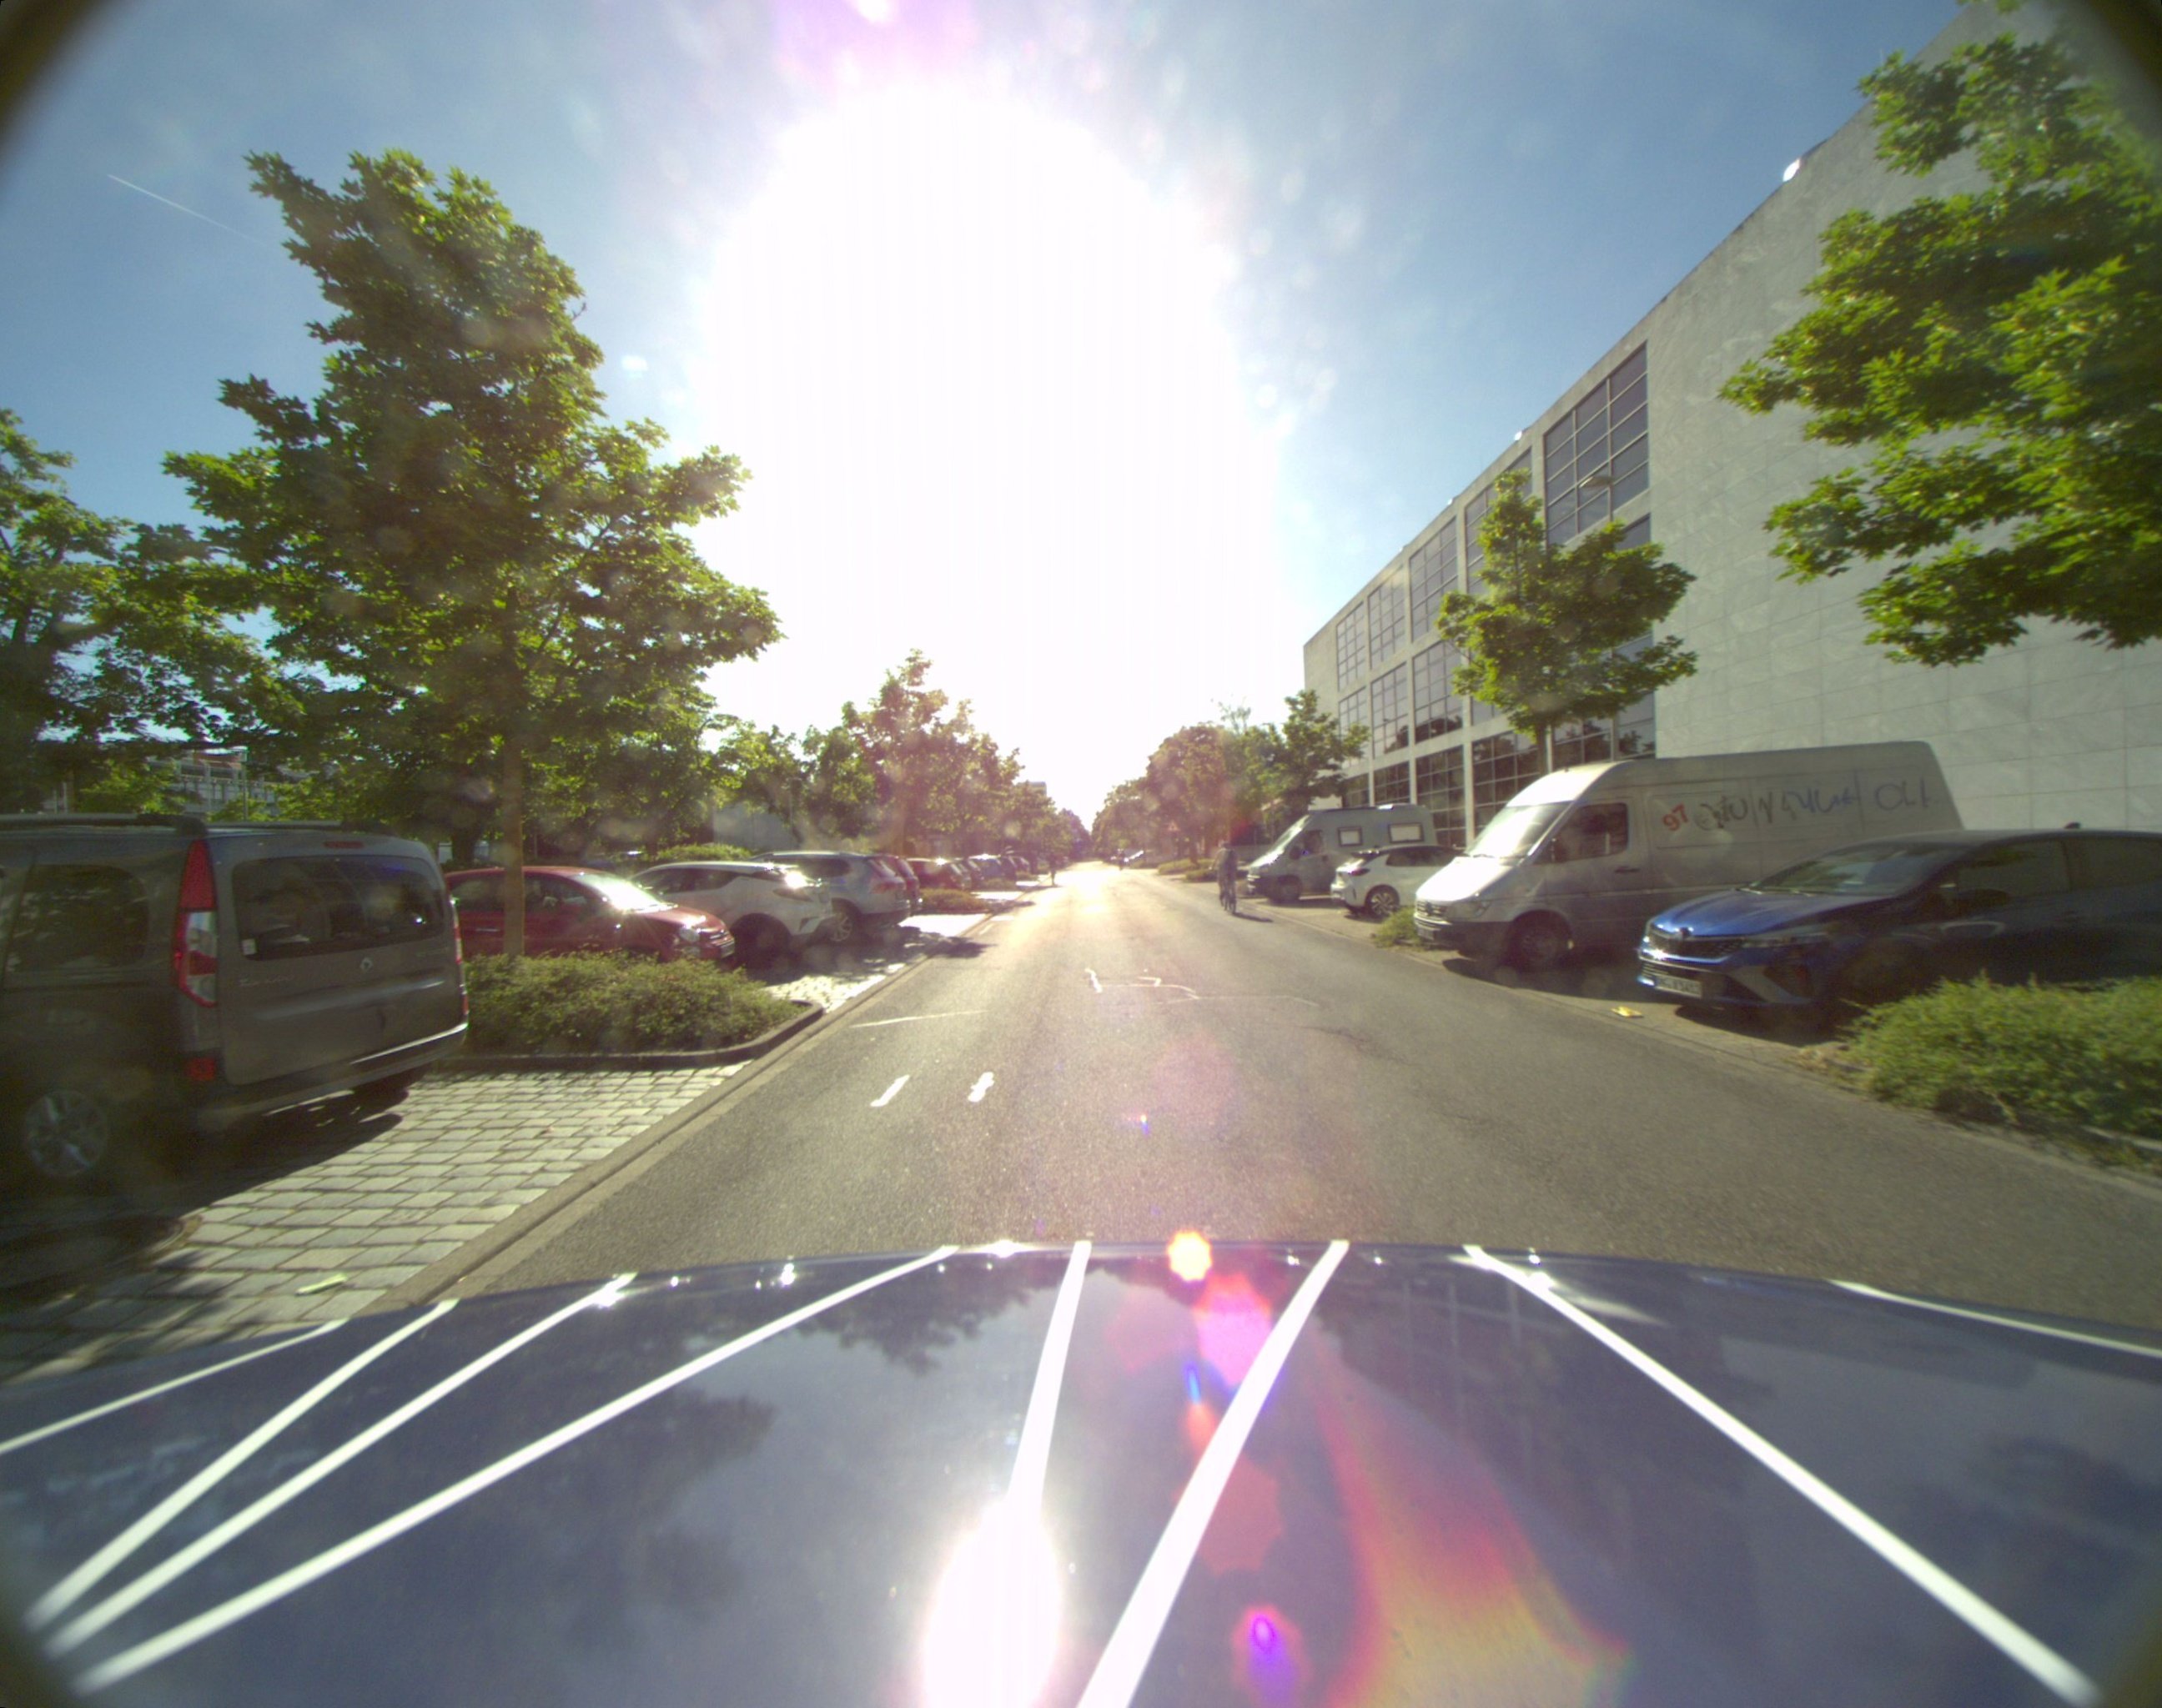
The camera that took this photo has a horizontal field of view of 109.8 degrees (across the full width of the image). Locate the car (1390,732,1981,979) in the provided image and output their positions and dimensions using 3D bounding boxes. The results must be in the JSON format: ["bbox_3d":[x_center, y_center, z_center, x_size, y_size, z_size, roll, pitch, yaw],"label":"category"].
[{"bbox_3d":[7.076,0.030,9.430,5.564,2.396,1.988,-4,1,2],"label":"car"}]

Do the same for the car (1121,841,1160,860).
[{"bbox_3d":[8.117,-0.506,104.499,5.132,2.364,2.000,-2,0,0],"label":"car"}]

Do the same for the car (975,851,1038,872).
[{"bbox_3d":[-5.093,0.521,52.330,4.165,1.398,1.828,-1,1,-1],"label":"car"}]

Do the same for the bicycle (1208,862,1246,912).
[{"bbox_3d":[3.507,0.772,18.430,0.699,1.104,2.080,-1,1,5],"label":"bicycle"}]

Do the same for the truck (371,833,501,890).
[{"bbox_3d":[-46.088,0.549,54.434,6.917,3.784,2.812,-2,0,2],"label":"truck"}]

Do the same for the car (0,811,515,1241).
[{"bbox_3d":[-6.119,0.837,4.394,4.129,1.916,1.978,-2,0,-1],"label":"car"}]

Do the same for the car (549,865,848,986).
[{"bbox_3d":[-5.459,0.979,11.234,3.507,1.521,1.737,-2,0,-4],"label":"car"}]

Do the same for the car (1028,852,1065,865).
[{"bbox_3d":[-3.877,0.470,85.608,4.165,1.398,1.828,-1,1,-1],"label":"car"}]

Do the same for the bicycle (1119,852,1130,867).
[{"bbox_3d":[3.112,0.382,54.458,0.759,0.996,1.872,0,1,2],"label":"bicycle"}]

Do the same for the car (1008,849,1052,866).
[{"bbox_3d":[-4.928,0.317,73.948,4.165,1.589,1.828,-1,1,-1],"label":"car"}]

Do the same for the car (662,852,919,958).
[{"bbox_3d":[-5.148,0.874,13.913,3.909,1.685,1.940,-2,0,-1],"label":"car"}]

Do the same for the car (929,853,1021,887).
[{"bbox_3d":[-5.125,0.753,37.140,4.197,1.511,1.736,-1,1,-1],"label":"car"}]

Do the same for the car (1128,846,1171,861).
[{"bbox_3d":[7.743,-0.064,86.312,4.684,1.398,1.829,-4,0,2],"label":"car"}]

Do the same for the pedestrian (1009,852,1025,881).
[{"bbox_3d":[-3.551,0.684,42.290,0.766,1.570,0.674,-2,0,0],"label":"pedestrian"}]

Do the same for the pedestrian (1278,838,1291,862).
[{"bbox_3d":[14.496,-0.284,54.215,0.837,1.675,0.808,-1,1,14],"label":"pedestrian"}]

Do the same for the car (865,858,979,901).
[{"bbox_3d":[-5.778,0.914,27.948,3.741,1.408,1.842,-1,1,2],"label":"car"}]

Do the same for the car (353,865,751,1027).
[{"bbox_3d":[-5.870,0.962,8.827,3.374,1.521,1.599,-2,1,-8],"label":"car"}]

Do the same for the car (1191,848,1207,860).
[{"bbox_3d":[16.469,0.029,106.198,1.833,1.605,4.145,-1,1,5],"label":"car"}]

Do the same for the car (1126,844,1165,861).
[{"bbox_3d":[7.921,-0.214,93.970,4.633,1.979,2.000,-2,0,0],"label":"car"}]

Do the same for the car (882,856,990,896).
[{"bbox_3d":[-5.762,0.861,30.511,3.904,1.489,1.842,-1,1,2],"label":"car"}]

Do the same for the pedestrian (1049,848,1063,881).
[{"bbox_3d":[-1.339,0.555,40.640,0.721,1.761,1.168,0,1,-1],"label":"pedestrian"}]

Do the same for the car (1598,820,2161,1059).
[{"bbox_3d":[6.780,0.574,6.120,3.942,1.476,1.785,-3,1,2],"label":"car"}]

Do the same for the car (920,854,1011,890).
[{"bbox_3d":[-5.211,0.805,34.671,3.909,1.459,1.621,-2,0,-1],"label":"car"}]

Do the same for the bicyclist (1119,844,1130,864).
[{"bbox_3d":[3.102,0.002,54.427,0.759,1.423,1.132,0,1,2],"label":"bicyclist"}]

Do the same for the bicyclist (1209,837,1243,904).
[{"bbox_3d":[3.494,0.384,18.369,0.685,1.572,1.061,-1,1,5],"label":"bicyclist"}]

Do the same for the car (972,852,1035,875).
[{"bbox_3d":[-5.027,0.587,49.657,3.909,1.428,1.808,-1,0,-1],"label":"car"}]

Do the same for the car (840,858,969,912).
[{"bbox_3d":[-5.264,0.893,22.992,3.462,1.480,1.746,-1,2,-1],"label":"car"}]

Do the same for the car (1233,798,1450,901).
[{"bbox_3d":[7.199,-0.130,21.427,5.261,2.404,2.123,-4,1,2],"label":"car"}]

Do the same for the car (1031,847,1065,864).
[{"bbox_3d":[-4.241,0.162,97.210,4.257,2.020,1.973,-1,1,-1],"label":"car"}]

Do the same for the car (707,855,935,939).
[{"bbox_3d":[-5.550,0.885,16.677,4.332,1.598,1.911,-1,1,-3],"label":"car"}]

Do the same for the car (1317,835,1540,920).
[{"bbox_3d":[7.259,0.468,16.172,3.839,1.463,1.848,-4,1,3],"label":"car"}]

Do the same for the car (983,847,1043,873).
[{"bbox_3d":[-4.967,0.438,55.693,4.165,1.836,1.880,-1,1,1],"label":"car"}]

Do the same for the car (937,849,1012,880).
[{"bbox_3d":[-5.876,0.601,42.253,3.909,1.568,1.679,-2,0,-1],"label":"car"}]

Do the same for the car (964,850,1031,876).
[{"bbox_3d":[-5.088,0.533,46.657,3.909,1.418,1.672,-2,2,-1],"label":"car"}]
